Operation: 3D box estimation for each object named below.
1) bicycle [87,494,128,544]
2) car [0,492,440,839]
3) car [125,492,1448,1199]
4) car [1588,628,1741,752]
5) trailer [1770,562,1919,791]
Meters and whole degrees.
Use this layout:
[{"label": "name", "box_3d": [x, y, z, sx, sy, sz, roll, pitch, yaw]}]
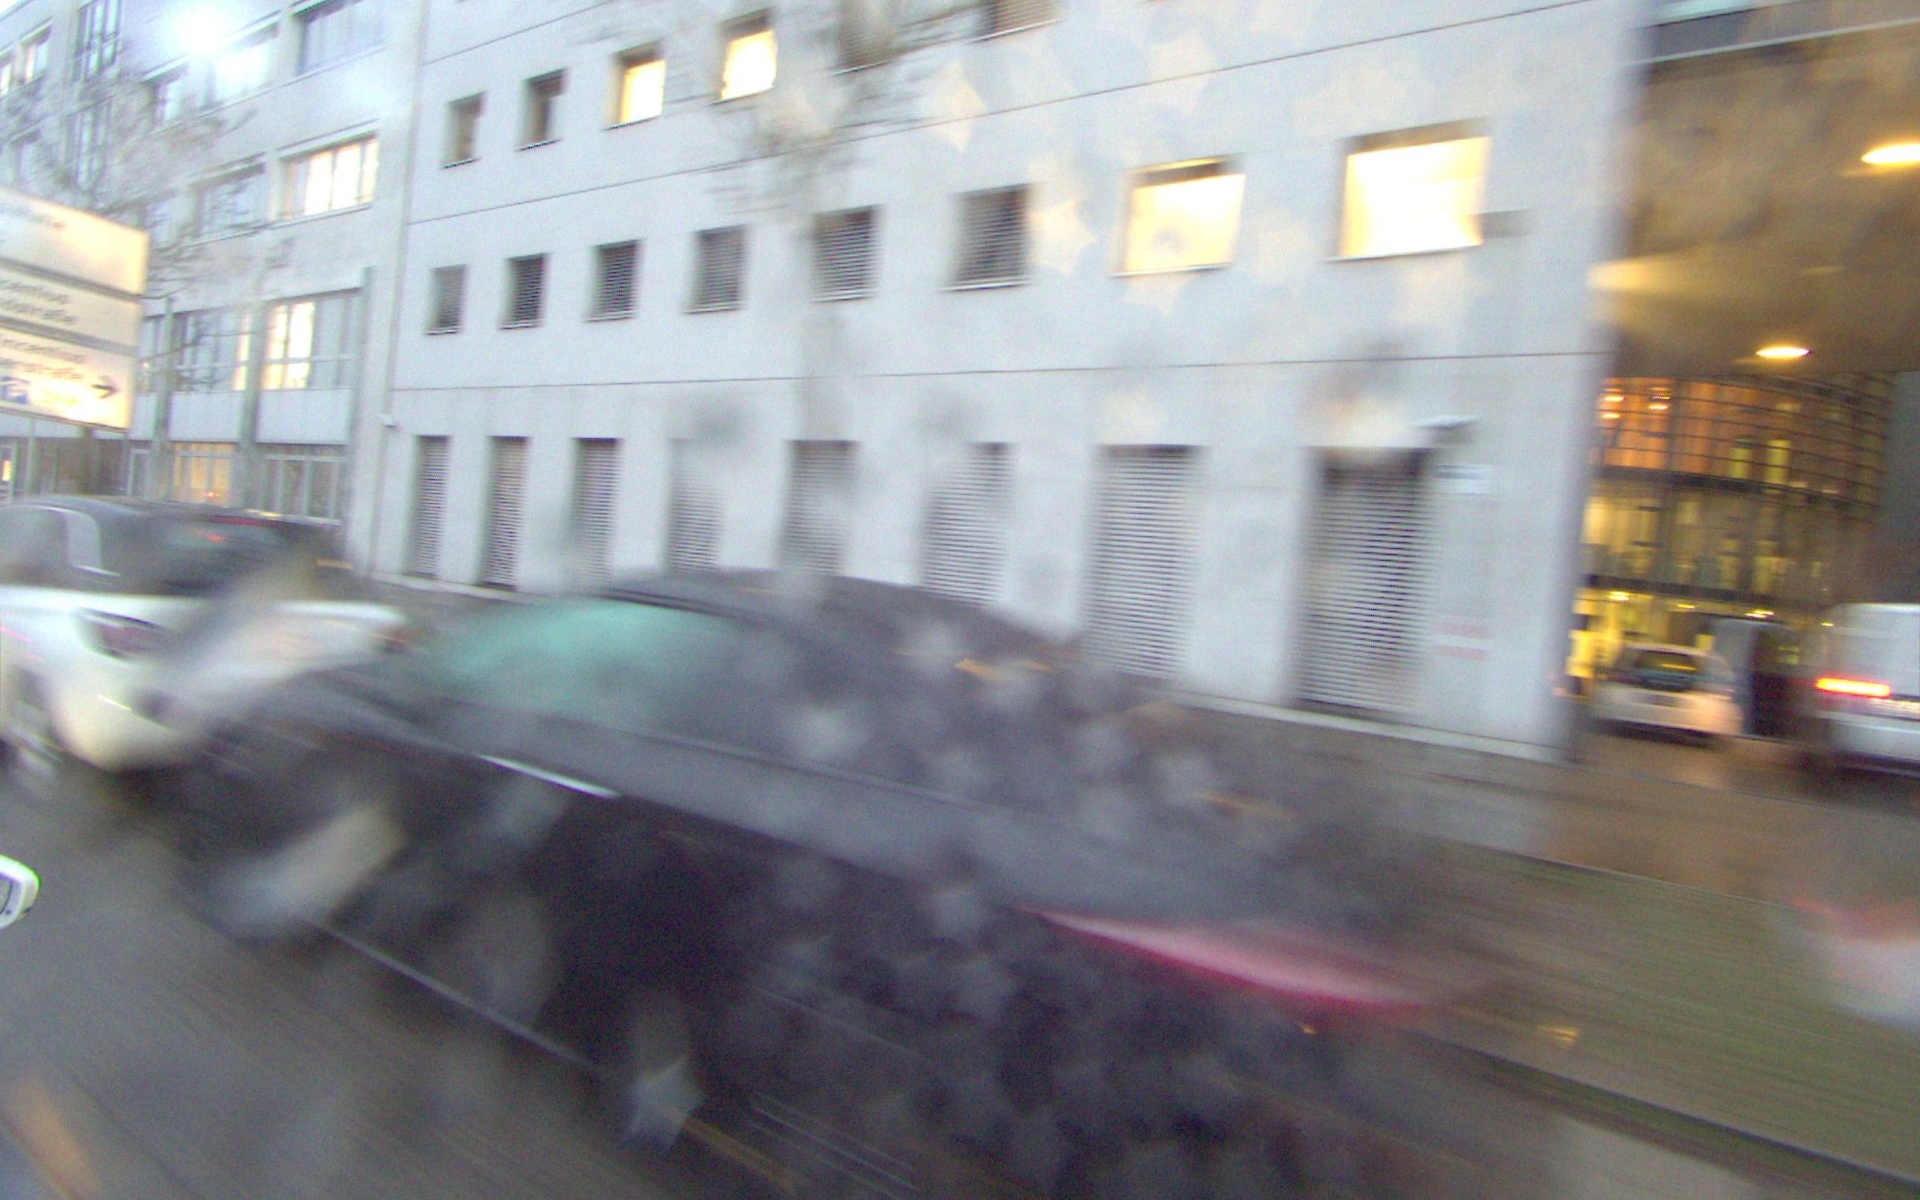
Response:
[{"label": "bicycle", "box_3d": [-24.345, -2.318, 28.712, 0.818, 1.291, 2.428, 1, 4, -42]}, {"label": "car", "box_3d": [-4.817, 0.173, 5.837, 3.428, 1.413, 1.592, 7, 2, 31]}, {"label": "car", "box_3d": [-0.887, 0.579, 3.336, 4.182, 1.419, 1.756, 7, -1, 35]}, {"label": "car", "box_3d": [11.242, 1.382, 15.932, 1.633, 1.537, 3.983, 7, 1, 38]}, {"label": "trailer", "box_3d": [10.160, 0.936, 10.602, 2.097, 1.935, 5.067, 8, 0, 37]}]
